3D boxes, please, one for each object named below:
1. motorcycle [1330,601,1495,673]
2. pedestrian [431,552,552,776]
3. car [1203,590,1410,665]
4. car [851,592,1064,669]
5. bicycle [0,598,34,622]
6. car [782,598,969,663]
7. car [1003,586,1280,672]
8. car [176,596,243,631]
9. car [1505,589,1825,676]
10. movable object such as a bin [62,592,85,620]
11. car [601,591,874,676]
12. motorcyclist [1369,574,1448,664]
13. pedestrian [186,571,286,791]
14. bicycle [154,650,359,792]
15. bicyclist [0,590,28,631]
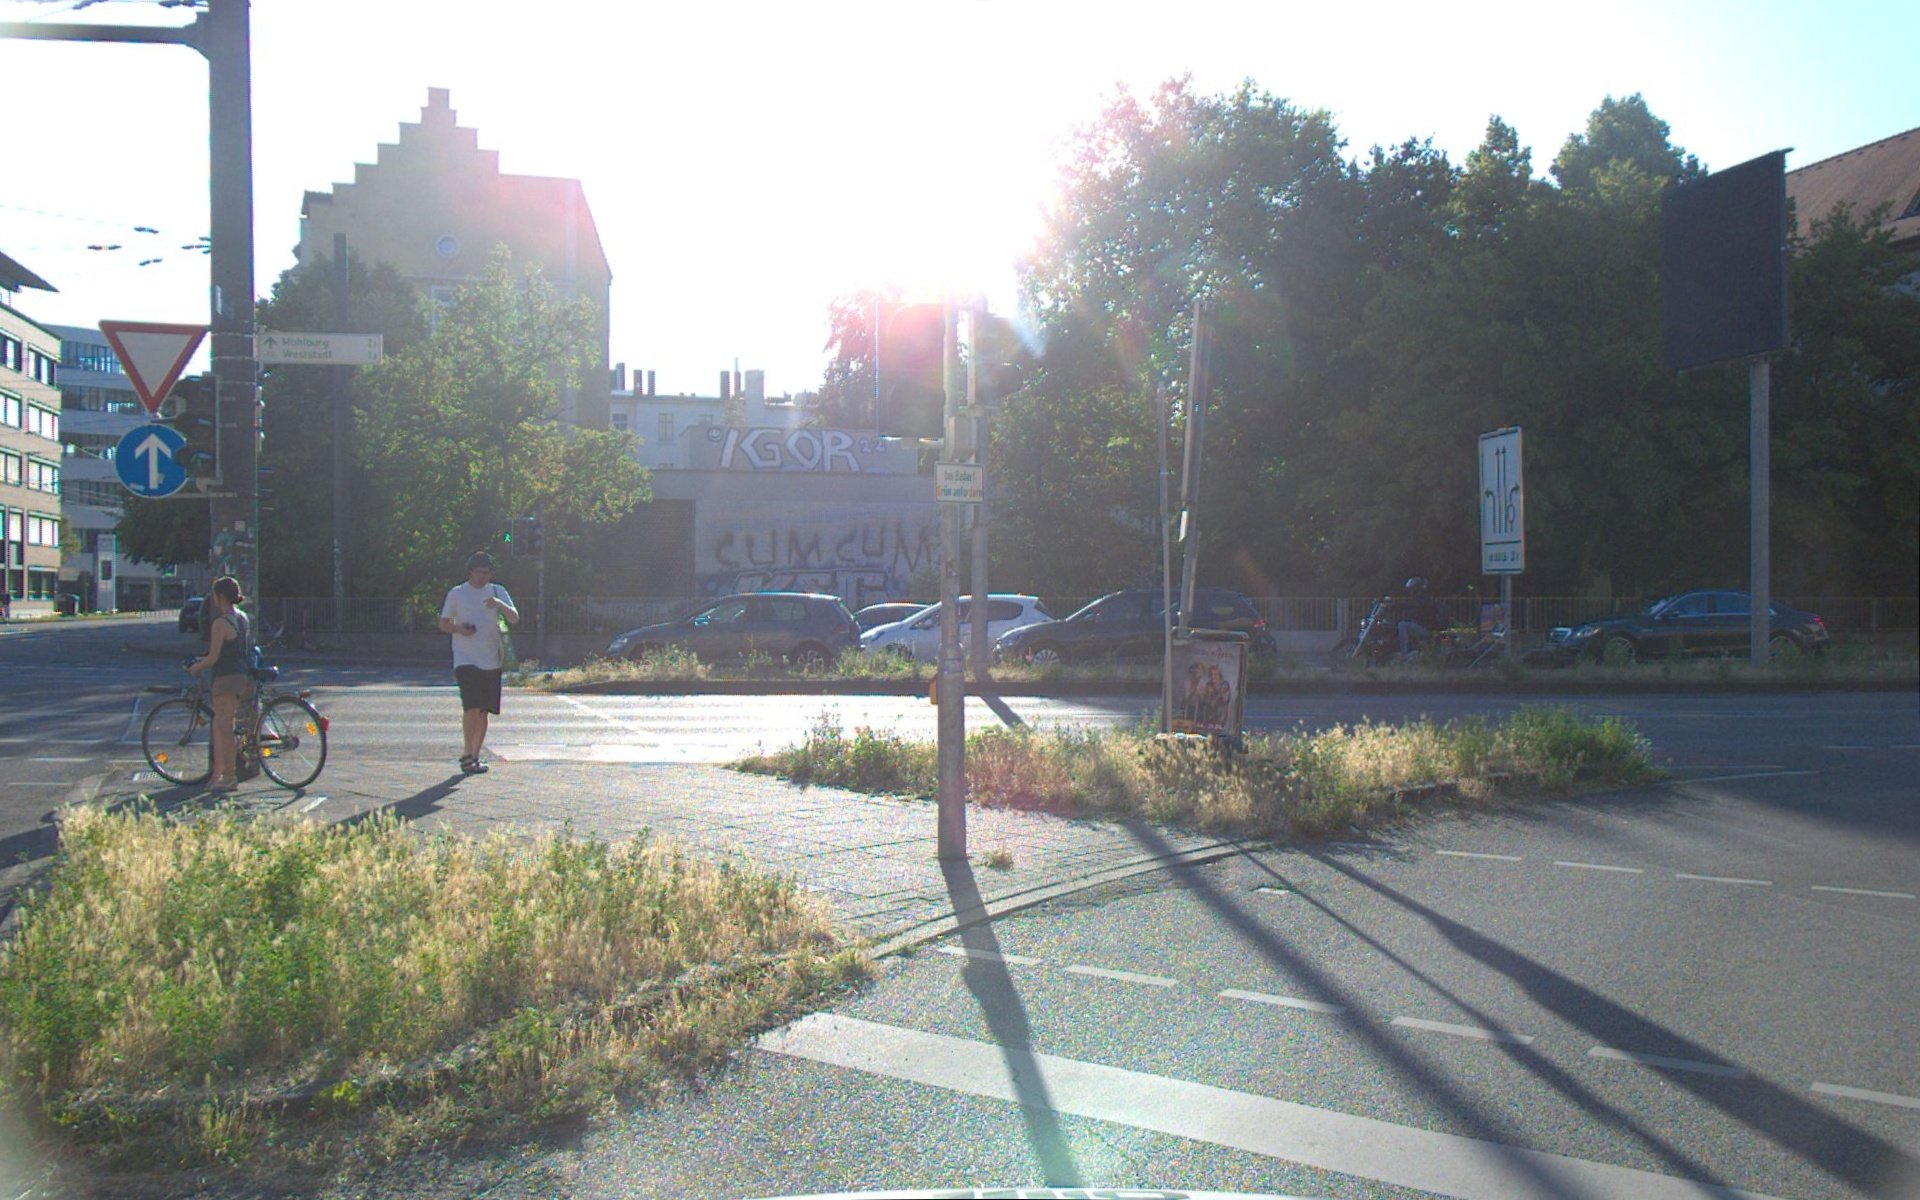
[{"bbox_3d":[7.261,0.578,26.610,2.411,1.127,0.861,0,0,0],"label":"motorcycle"},{"bbox_3d":[-3.984,0.521,14.026,0.896,1.820,0.821,0,0,-23],"label":"pedestrian"},{"bbox_3d":[7.279,0.557,34.912,3.911,1.489,1.857,0,1,-7],"label":"car"},{"bbox_3d":[-0.066,0.542,30.365,3.803,1.342,1.724,0,0,-2],"label":"car"},{"bbox_3d":[-47.743,0.506,83.367,0.991,1.155,2.820,1,0,-10],"label":"bicycle"},{"bbox_3d":[-1.745,0.621,34.551,3.803,1.319,1.724,0,0,-2],"label":"car"},{"bbox_3d":[2.854,0.454,26.666,4.273,1.319,1.724,0,0,0],"label":"car"},{"bbox_3d":[-32.007,0.560,70.665,1.753,1.412,3.988,0,0,-12],"label":"car"},{"bbox_3d":[13.013,0.583,30.696,5.173,1.522,1.997,0,0,-6],"label":"car"},{"bbox_3d":[-53.722,0.363,100.280,1.048,1.657,0.885,0,0,-16],"label":"movable object such as a bin"},{"bbox_3d":[-3.534,0.530,26.818,4.147,1.319,1.725,0,0,2],"label":"car"},{"bbox_3d":[7.208,0.306,26.597,1.036,1.422,0.854,0,0,0],"label":"motorcyclist"},{"bbox_3d":[-5.599,0.610,12.801,0.513,1.660,0.489,0,0,19],"label":"pedestrian"},{"bbox_3d":[-5.496,0.923,12.908,1.631,1.047,0.400,0,0,19],"label":"bicycle"},{"bbox_3d":[-47.738,0.511,83.346,0.974,2.049,1.247,0,0,-11],"label":"bicyclist"}]
